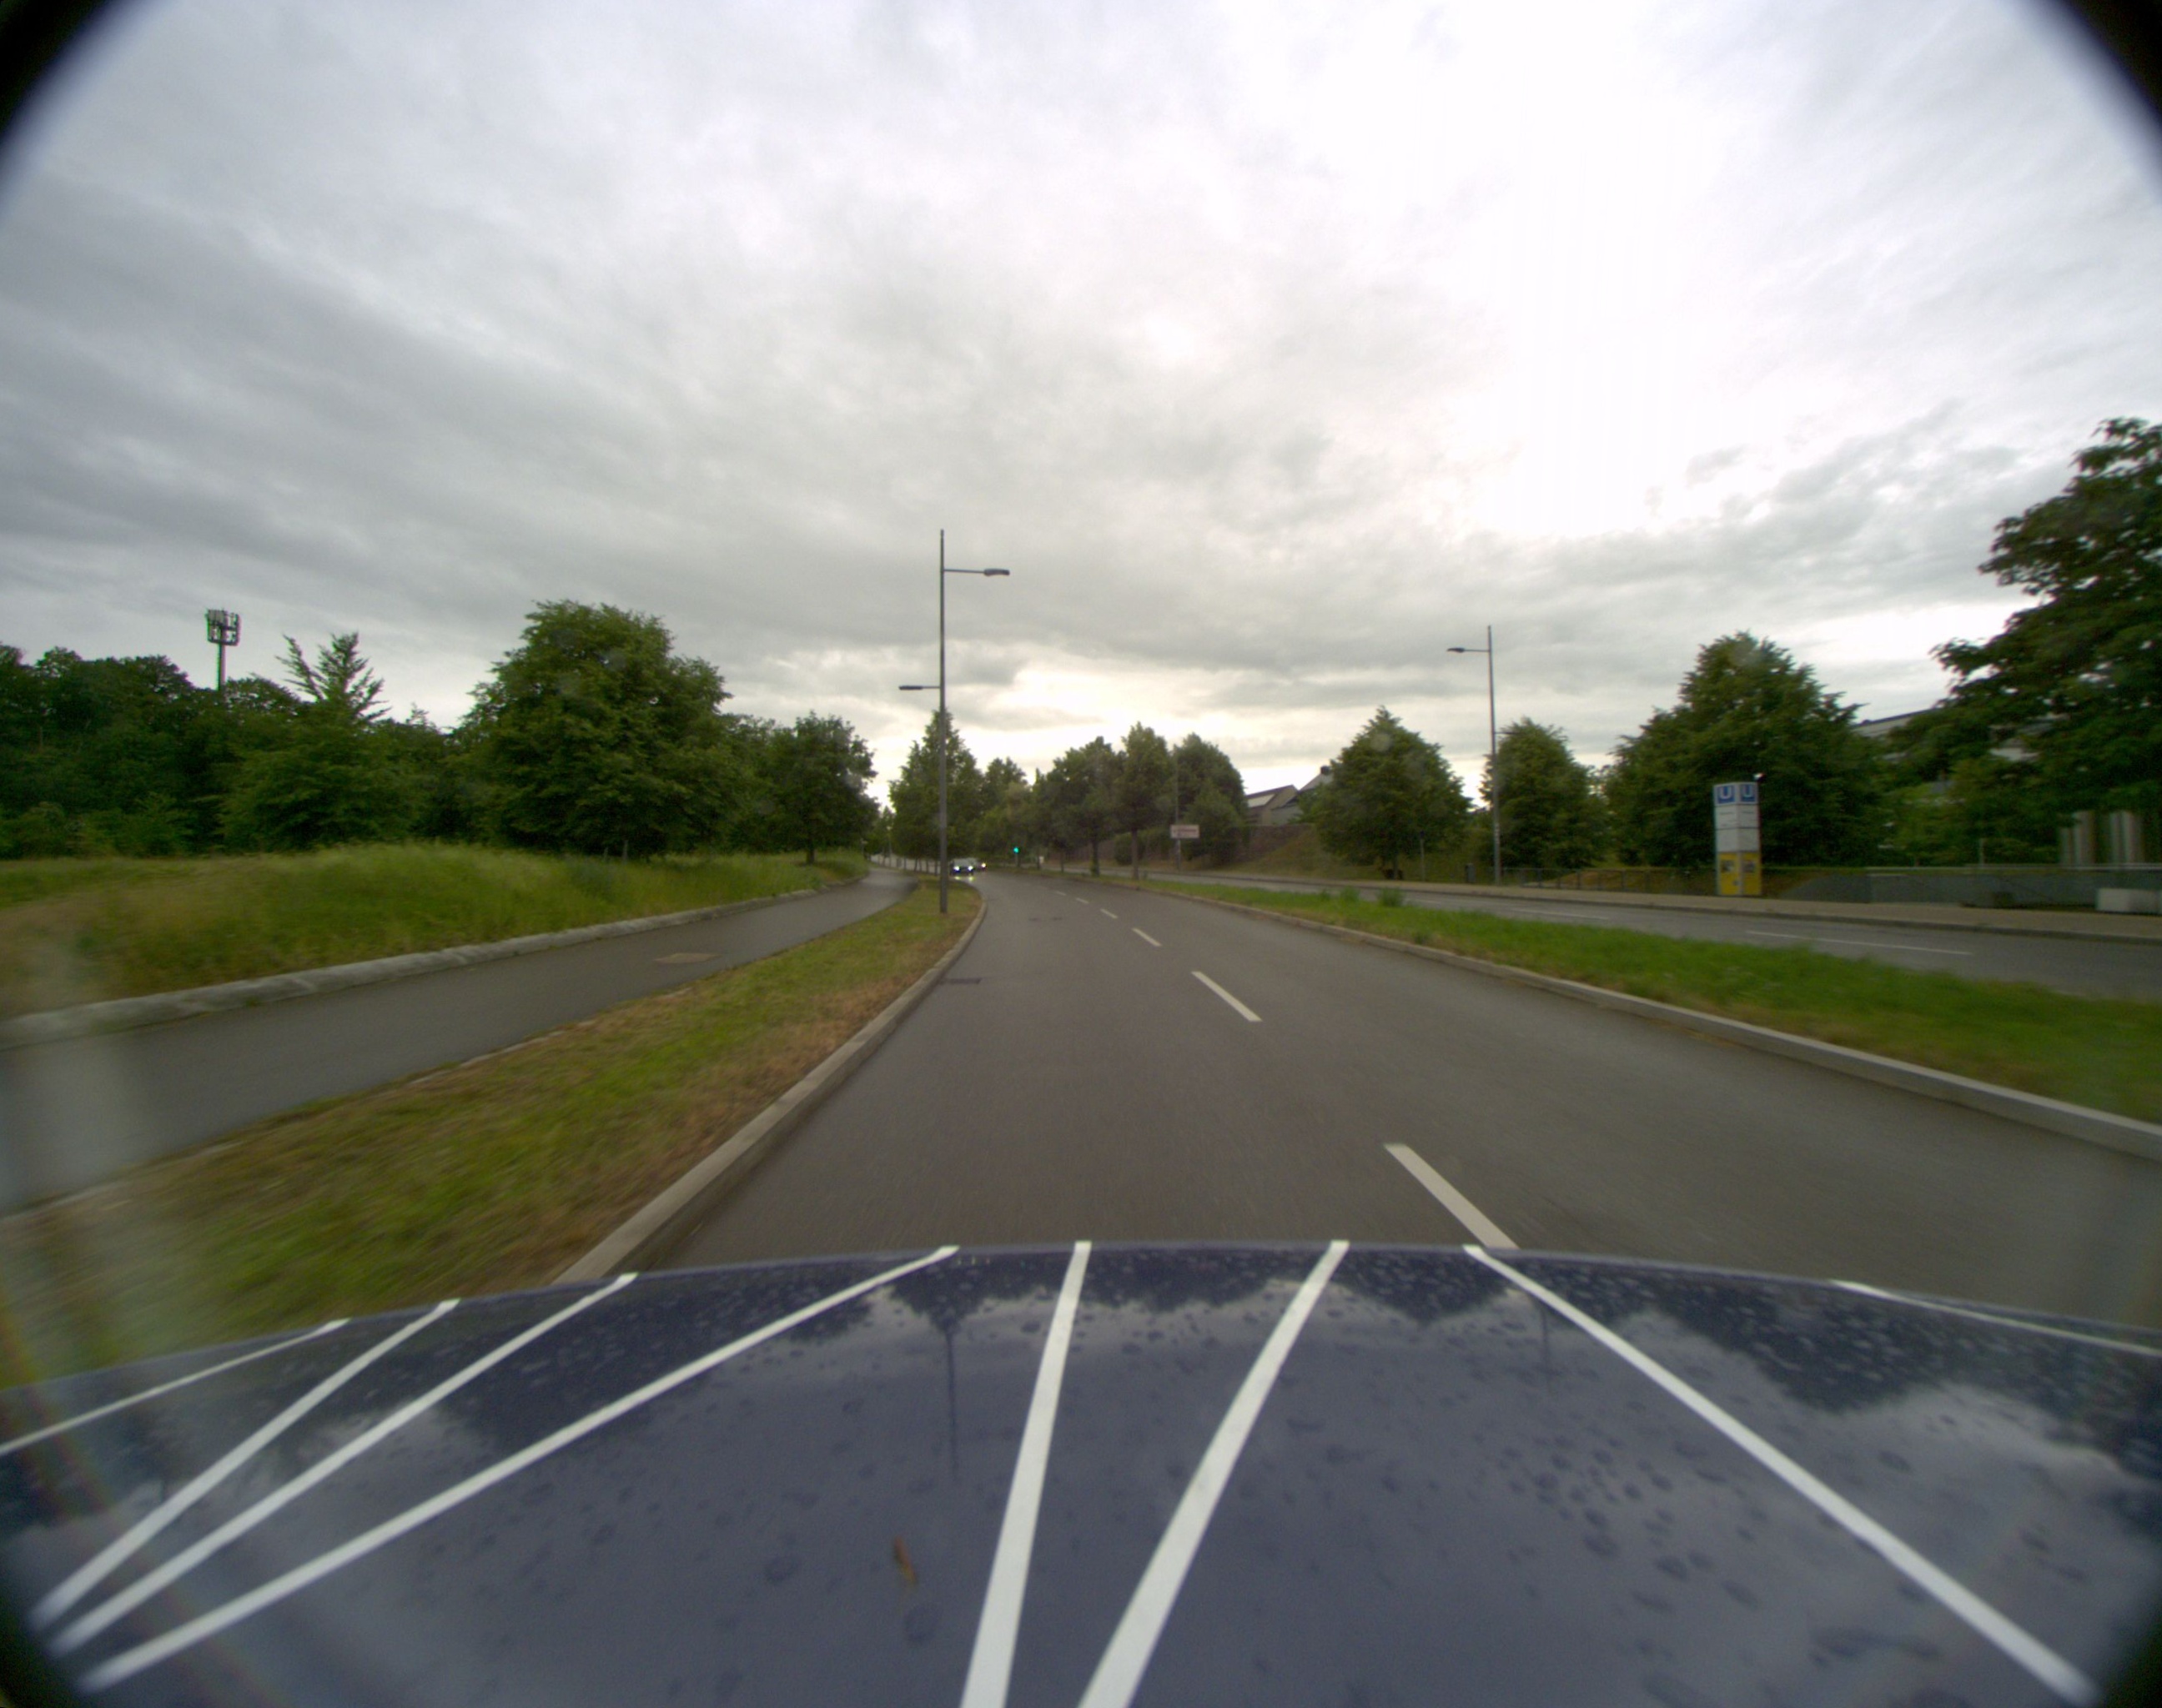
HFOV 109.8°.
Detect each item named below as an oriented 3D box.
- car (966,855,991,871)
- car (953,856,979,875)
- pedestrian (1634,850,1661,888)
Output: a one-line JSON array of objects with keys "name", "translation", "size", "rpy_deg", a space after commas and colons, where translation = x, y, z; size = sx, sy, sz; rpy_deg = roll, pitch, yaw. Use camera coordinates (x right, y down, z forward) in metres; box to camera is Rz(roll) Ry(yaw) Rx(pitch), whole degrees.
[{"name": "car", "translation": [-10.754, 0.895, 79.638], "size": [1.827, 1.548, 3.992], "rpy_deg": [-1, 2, -19]}, {"name": "car", "translation": [-10.115, 0.974, 66.763], "size": [1.826, 1.548, 3.994], "rpy_deg": [-1, 2, -15]}, {"name": "pedestrian", "translation": [26.179, 0.691, 35.115], "size": [0.647, 1.718, 0.755], "rpy_deg": [-1, 2, -7]}]
